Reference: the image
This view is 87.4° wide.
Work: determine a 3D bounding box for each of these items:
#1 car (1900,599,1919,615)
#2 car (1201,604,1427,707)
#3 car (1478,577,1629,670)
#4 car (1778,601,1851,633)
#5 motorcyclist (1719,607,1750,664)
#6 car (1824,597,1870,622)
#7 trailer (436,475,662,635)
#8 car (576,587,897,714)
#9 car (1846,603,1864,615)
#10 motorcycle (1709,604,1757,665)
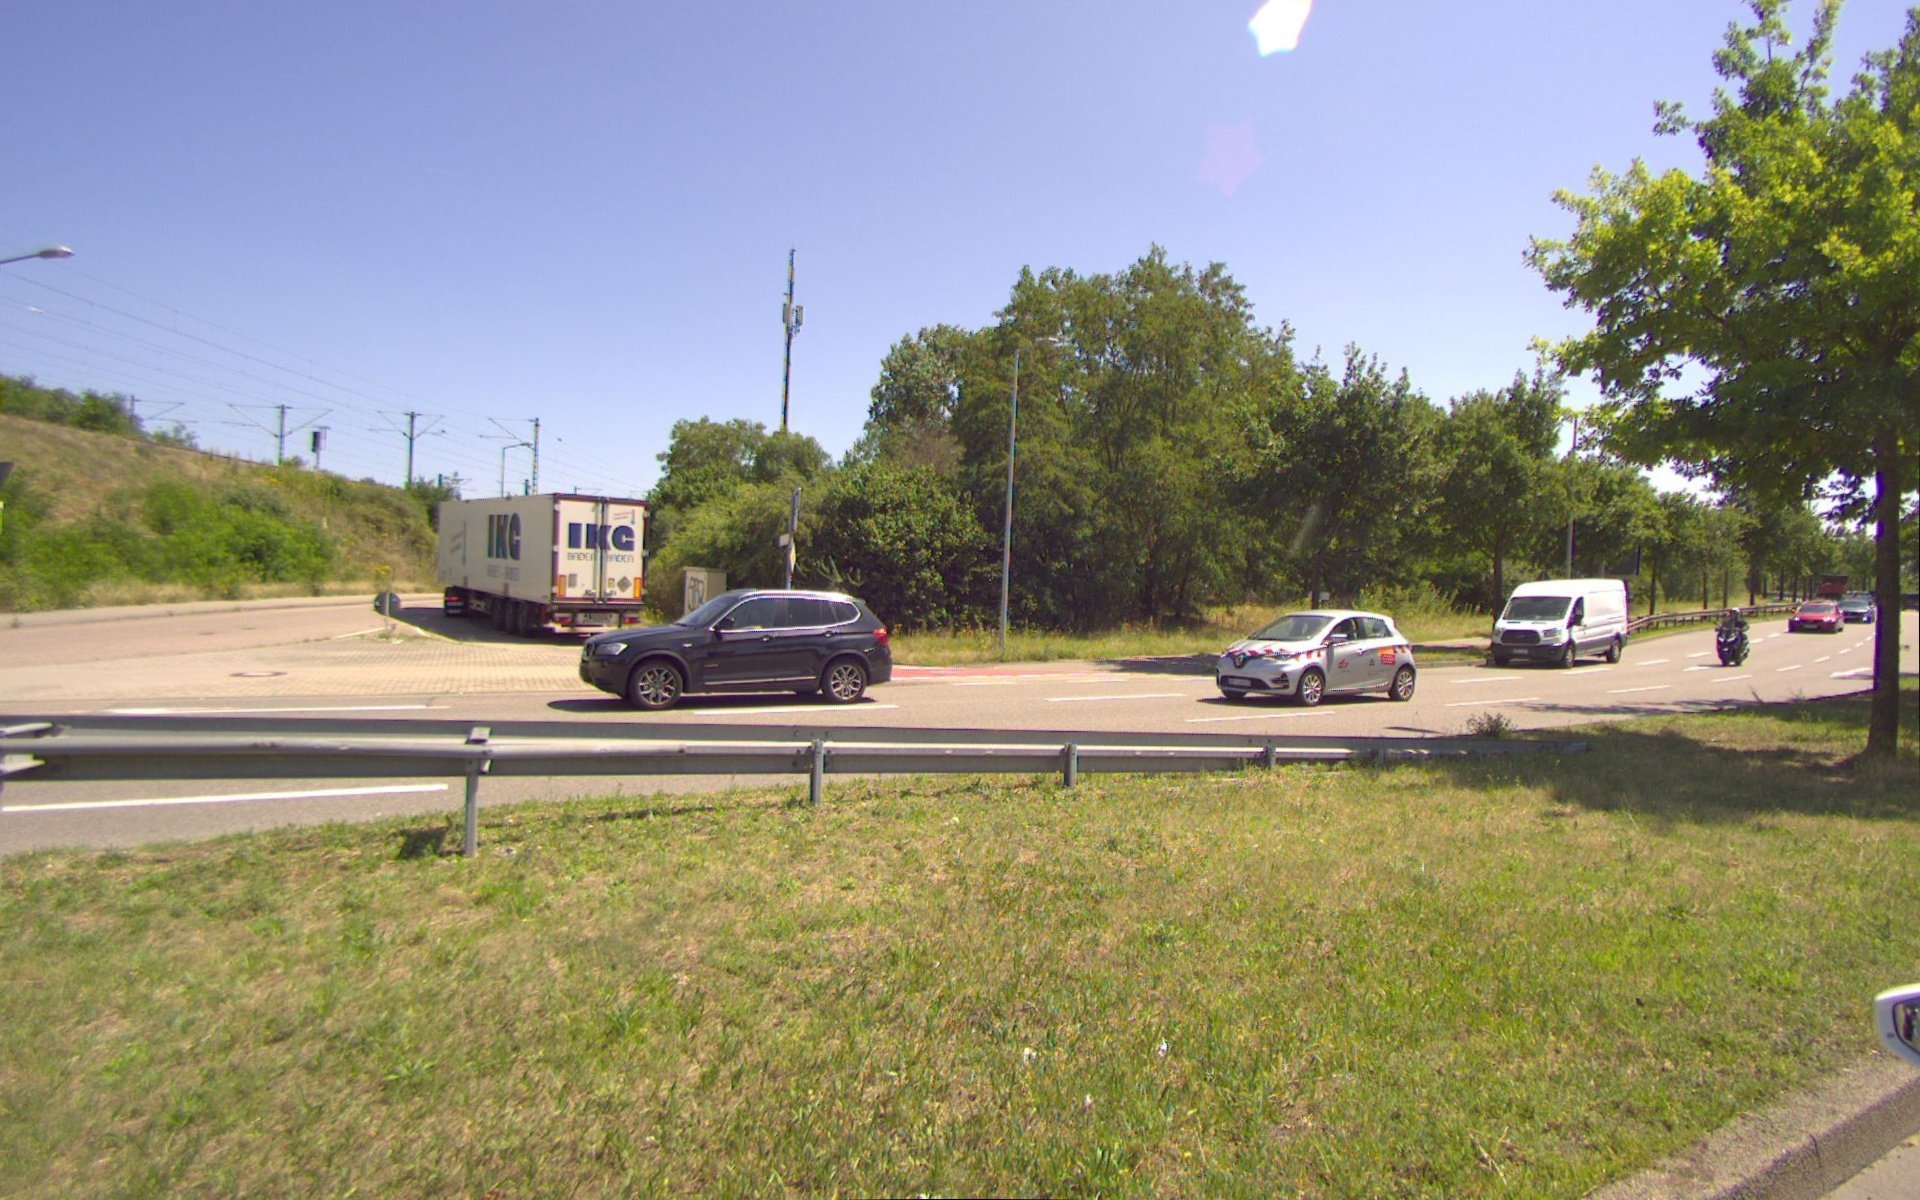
[{"bbox_3d":[82.121,0.599,86.592,1.401,1.331,3.321,2,0,41],"label":"car"},{"bbox_3d":[6.155,0.897,17.312,4.031,1.588,1.624,1,-1,-34],"label":"car"},{"bbox_3d":[17.862,0.638,30.110,5.759,2.534,2.077,0,0,-39],"label":"car"},{"bbox_3d":[42.839,0.876,50.318,4.483,1.456,1.818,2,-2,-36],"label":"car"},{"bbox_3d":[22.869,1.051,29.664,0.558,1.648,0.582,2,0,-38],"label":"motorcyclist"},{"bbox_3d":[54.305,0.598,61.458,4.539,1.351,1.791,2,0,-44],"label":"car"},{"bbox_3d":[-13.403,-1.210,31.680,2.997,4.104,12.556,0,1,-40],"label":"trailer"},{"bbox_3d":[-3.226,0.677,14.856,4.421,1.654,1.481,0,0,-31],"label":"car"},{"bbox_3d":[93.764,0.960,105.219,1.306,1.154,2.981,2,0,40],"label":"car"},{"bbox_3d":[22.807,1.015,29.615,2.405,1.700,0.592,2,0,-40],"label":"motorcycle"}]
